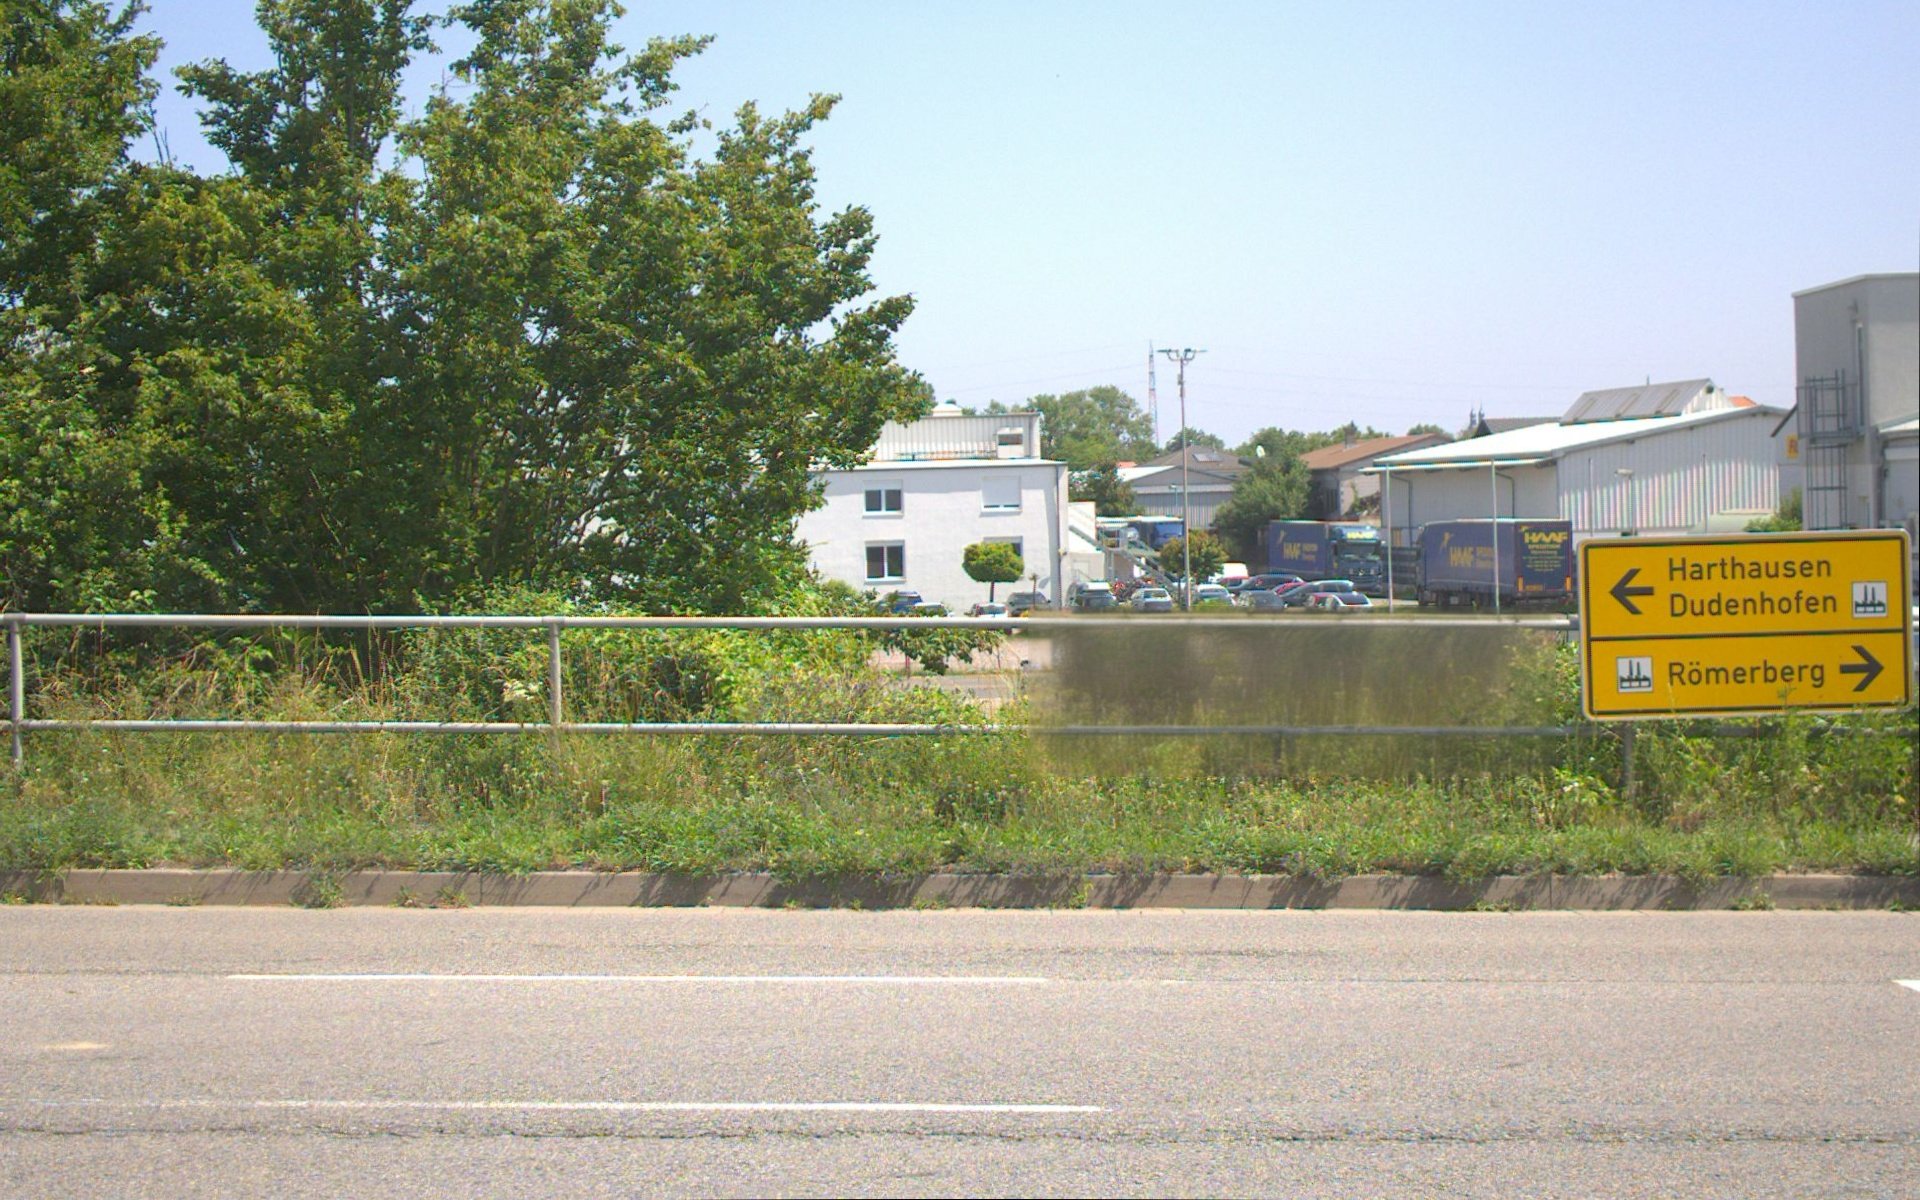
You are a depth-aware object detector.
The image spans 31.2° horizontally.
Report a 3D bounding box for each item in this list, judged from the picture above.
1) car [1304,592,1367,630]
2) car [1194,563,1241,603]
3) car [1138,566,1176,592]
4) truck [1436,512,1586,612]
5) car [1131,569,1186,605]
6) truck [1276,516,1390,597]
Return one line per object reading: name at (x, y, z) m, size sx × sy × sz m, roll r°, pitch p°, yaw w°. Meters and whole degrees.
car at (15.042, 0.426, 137.931) m, size 1.683 × 1.358 × 3.837 m, roll -3°, pitch 1°, yaw -6°
car at (13.333, -0.903, 178.278) m, size 1.716 × 2.007 × 4.001 m, roll 0°, pitch 1°, yaw -6°
car at (10.354, -1.101, 181.227) m, size 1.450 × 1.346 × 3.317 m, roll 0°, pitch 1°, yaw -7°
truck at (24.614, -1.773, 154.543) m, size 3.707 × 4.296 × 13.344 m, roll 0°, pitch 1°, yaw -4°
car at (9.915, -0.655, 172.125) m, size 1.993 × 1.725 × 4.864 m, roll 0°, pitch 1°, yaw -6°
truck at (20.386, -2.419, 188.906) m, size 3.411 × 4.296 × 14.596 m, roll 0°, pitch 1°, yaw -5°
